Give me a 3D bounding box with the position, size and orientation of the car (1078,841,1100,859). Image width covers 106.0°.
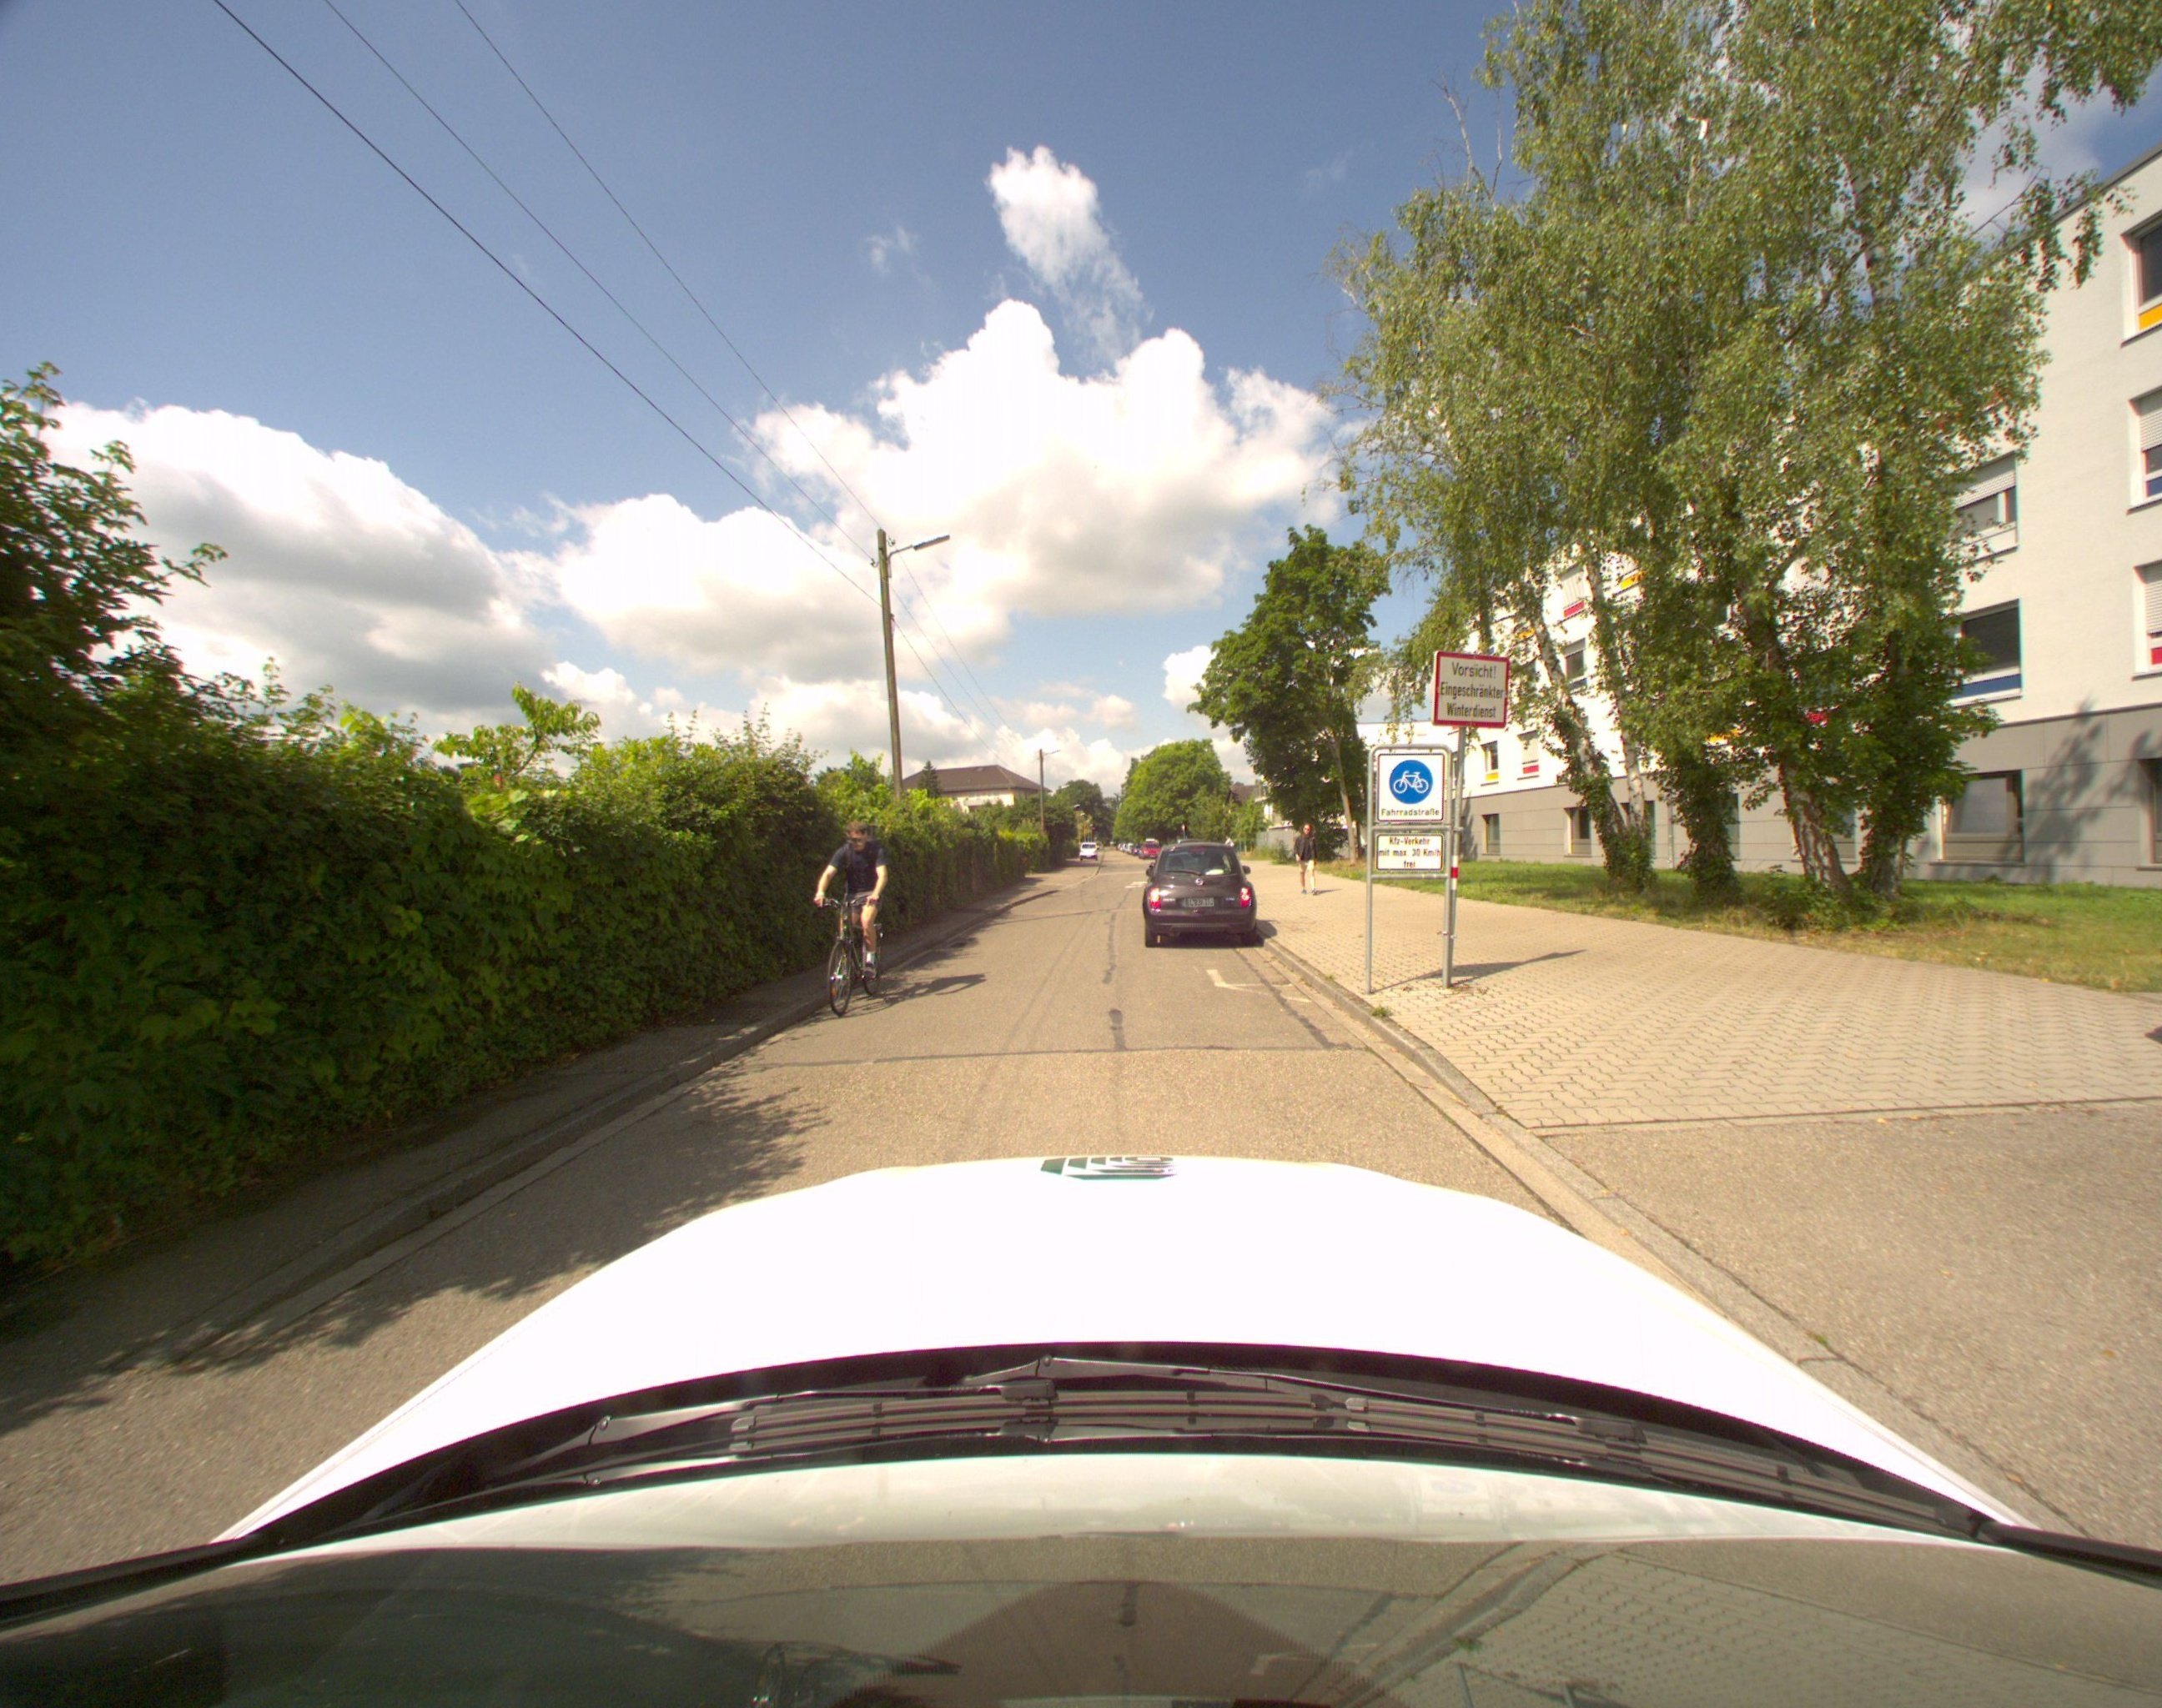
[{"bbox_3d":[0.837,-0.404,81.684,1.894,1.814,4.005,-1,0,4],"label":"car"}]

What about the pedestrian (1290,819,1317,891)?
[{"bbox_3d":[5.510,0.025,20.179,0.606,1.745,0.725,-1,0,15],"label":"pedestrian"}]

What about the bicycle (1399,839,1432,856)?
[{"bbox_3d":[24.137,-0.491,58.726,2.037,1.079,0.689,-3,0,4],"label":"bicycle"}]

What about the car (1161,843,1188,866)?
[{"bbox_3d":[6.365,0.012,55.945,1.671,1.519,4.005,-1,0,4],"label":"car"}]

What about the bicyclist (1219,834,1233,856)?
[{"bbox_3d":[11.816,-0.752,66.364,0.777,1.785,0.900,-1,0,34],"label":"bicyclist"}]

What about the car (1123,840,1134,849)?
[{"bbox_3d":[9.364,-1.843,160.830,1.842,1.618,4.007,-2,0,6],"label":"car"}]

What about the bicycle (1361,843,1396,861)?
[{"bbox_3d":[19.975,-0.146,54.728,2.078,1.119,0.626,-3,0,6],"label":"bicycle"}]

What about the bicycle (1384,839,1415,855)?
[{"bbox_3d":[24.016,-0.505,61.359,2.037,1.079,0.689,-3,0,4],"label":"bicycle"}]

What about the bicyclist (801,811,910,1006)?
[{"bbox_3d":[-2.291,0.524,8.392,0.656,1.852,1.044,-3,0,4],"label":"bicyclist"}]

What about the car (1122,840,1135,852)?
[{"bbox_3d":[7.701,-1.298,131.221,2.049,1.961,4.546,-1,0,4],"label":"car"}]

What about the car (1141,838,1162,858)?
[{"bbox_3d":[7.058,-0.638,81.486,2.049,1.926,4.546,-1,0,4],"label":"car"}]

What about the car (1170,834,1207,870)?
[{"bbox_3d":[5.604,-0.118,42.713,1.864,1.806,3.438,-1,0,6],"label":"car"}]

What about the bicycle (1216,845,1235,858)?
[{"bbox_3d":[11.810,-0.181,66.402,0.850,1.026,1.832,-1,0,34],"label":"bicycle"}]

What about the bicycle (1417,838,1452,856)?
[{"bbox_3d":[24.197,-0.469,55.701,2.037,1.079,0.689,-3,0,4],"label":"bicycle"}]

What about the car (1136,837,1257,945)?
[{"bbox_3d":[1.834,0.506,13.371,1.655,1.506,4.007,-1,0,6],"label":"car"}]

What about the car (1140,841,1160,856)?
[{"bbox_3d":[7.575,-0.615,89.518,2.049,1.652,4.546,-1,0,4],"label":"car"}]

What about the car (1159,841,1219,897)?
[{"bbox_3d":[3.330,0.414,24.838,1.653,1.552,3.646,-1,0,9],"label":"car"}]

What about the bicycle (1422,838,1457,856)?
[{"bbox_3d":[24.119,-0.445,54.801,2.037,1.079,0.689,-3,0,4],"label":"bicycle"}]

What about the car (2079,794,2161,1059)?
[{"bbox_3d":[7.910,0.260,3.821,4.226,1.430,1.759,-4,0,0],"label":"car"}]

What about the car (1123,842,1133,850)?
[{"bbox_3d":[10.199,-1.757,175.909,1.842,1.618,4.007,-1,0,6],"label":"car"}]

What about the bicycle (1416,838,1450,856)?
[{"bbox_3d":[24.392,-0.489,56.429,2.037,1.079,0.689,-3,0,4],"label":"bicycle"}]

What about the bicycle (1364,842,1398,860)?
[{"bbox_3d":[20.797,-0.210,56.528,2.037,1.079,0.689,-3,0,4],"label":"bicycle"}]

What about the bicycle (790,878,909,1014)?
[{"bbox_3d":[-2.312,0.868,8.360,0.515,1.150,1.829,-3,0,4],"label":"bicycle"}]

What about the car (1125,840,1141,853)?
[{"bbox_3d":[6.825,-0.933,106.159,2.049,1.652,4.546,-1,0,4],"label":"car"}]

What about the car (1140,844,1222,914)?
[{"bbox_3d":[2.307,0.501,18.940,1.655,1.440,4.214,-1,0,6],"label":"car"}]
